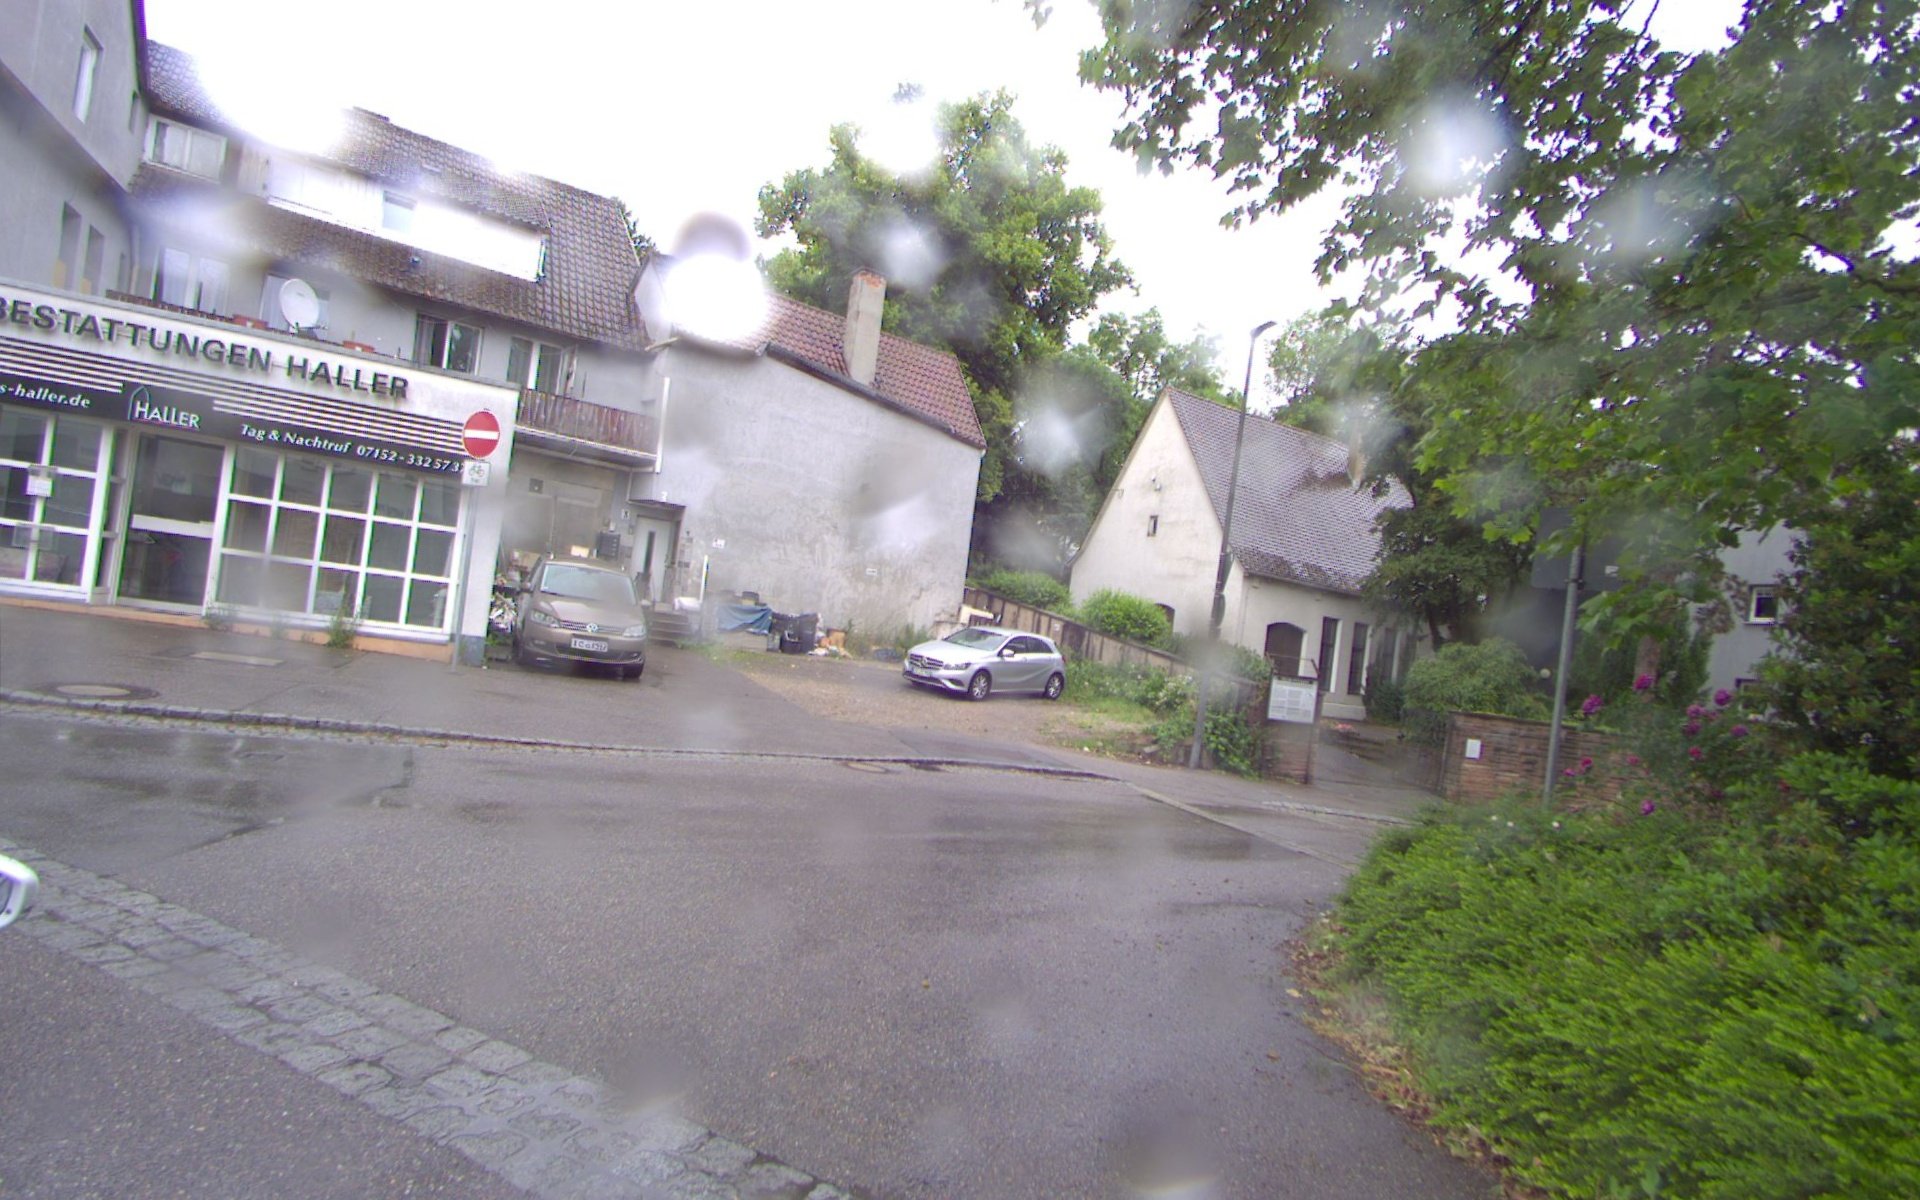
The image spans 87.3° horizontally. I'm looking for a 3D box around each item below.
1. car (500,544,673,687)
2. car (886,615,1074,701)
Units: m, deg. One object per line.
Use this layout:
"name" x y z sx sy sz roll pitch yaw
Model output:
"car" -6.284 0.146 16.562 1.908 1.749 4.634 8 0 -28
"car" 0.508 1.272 21.394 1.717 1.406 4.022 10 2 40
